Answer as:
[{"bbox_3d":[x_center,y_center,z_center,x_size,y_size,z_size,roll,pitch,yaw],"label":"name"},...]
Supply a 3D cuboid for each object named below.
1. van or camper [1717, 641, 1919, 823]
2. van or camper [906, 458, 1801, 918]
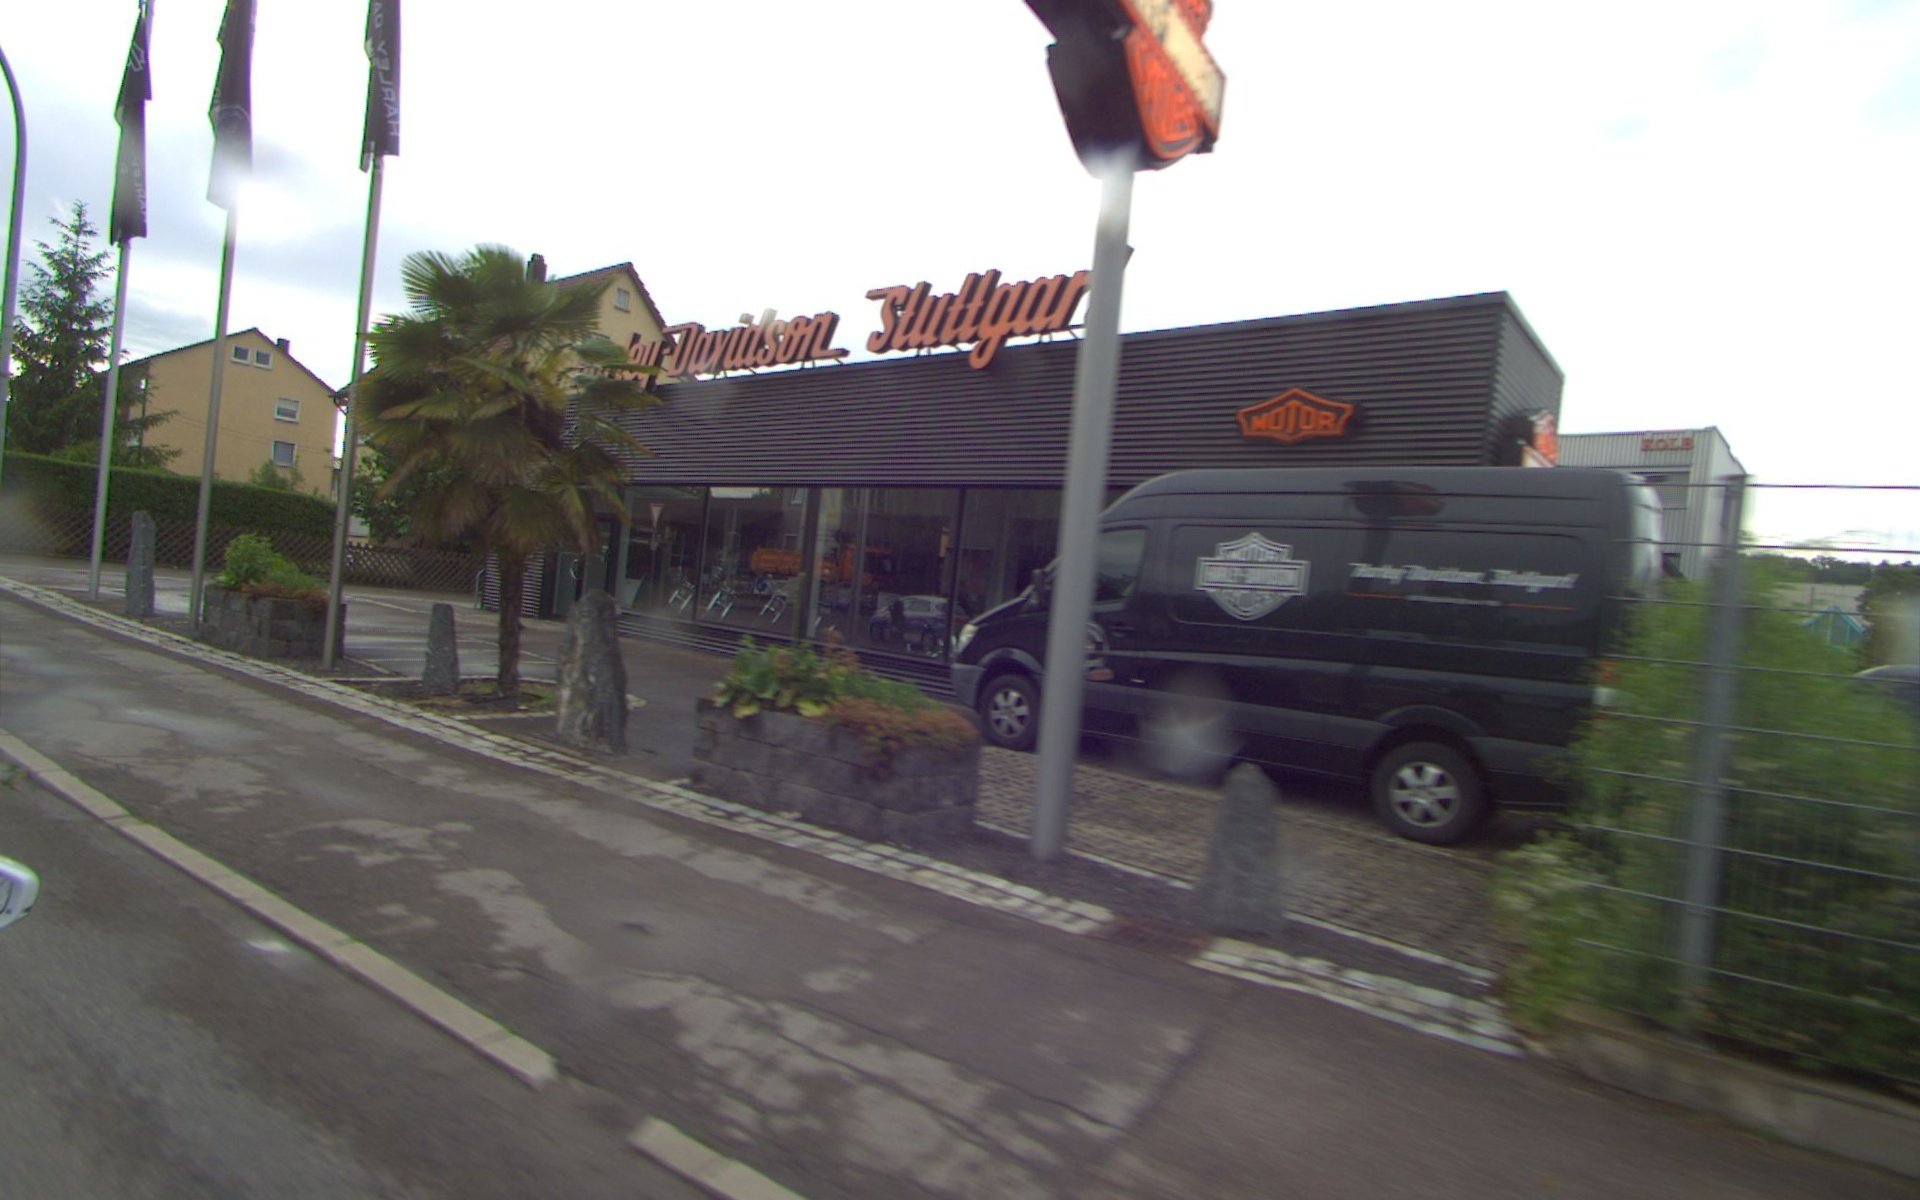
[{"bbox_3d":[16.249,2.355,16.568,5.661,2.589,2.328,7,1,42],"label":"van or camper"},{"bbox_3d":[2.737,0.292,8.563,6.493,2.626,2.039,7,1,39],"label":"van or camper"}]
